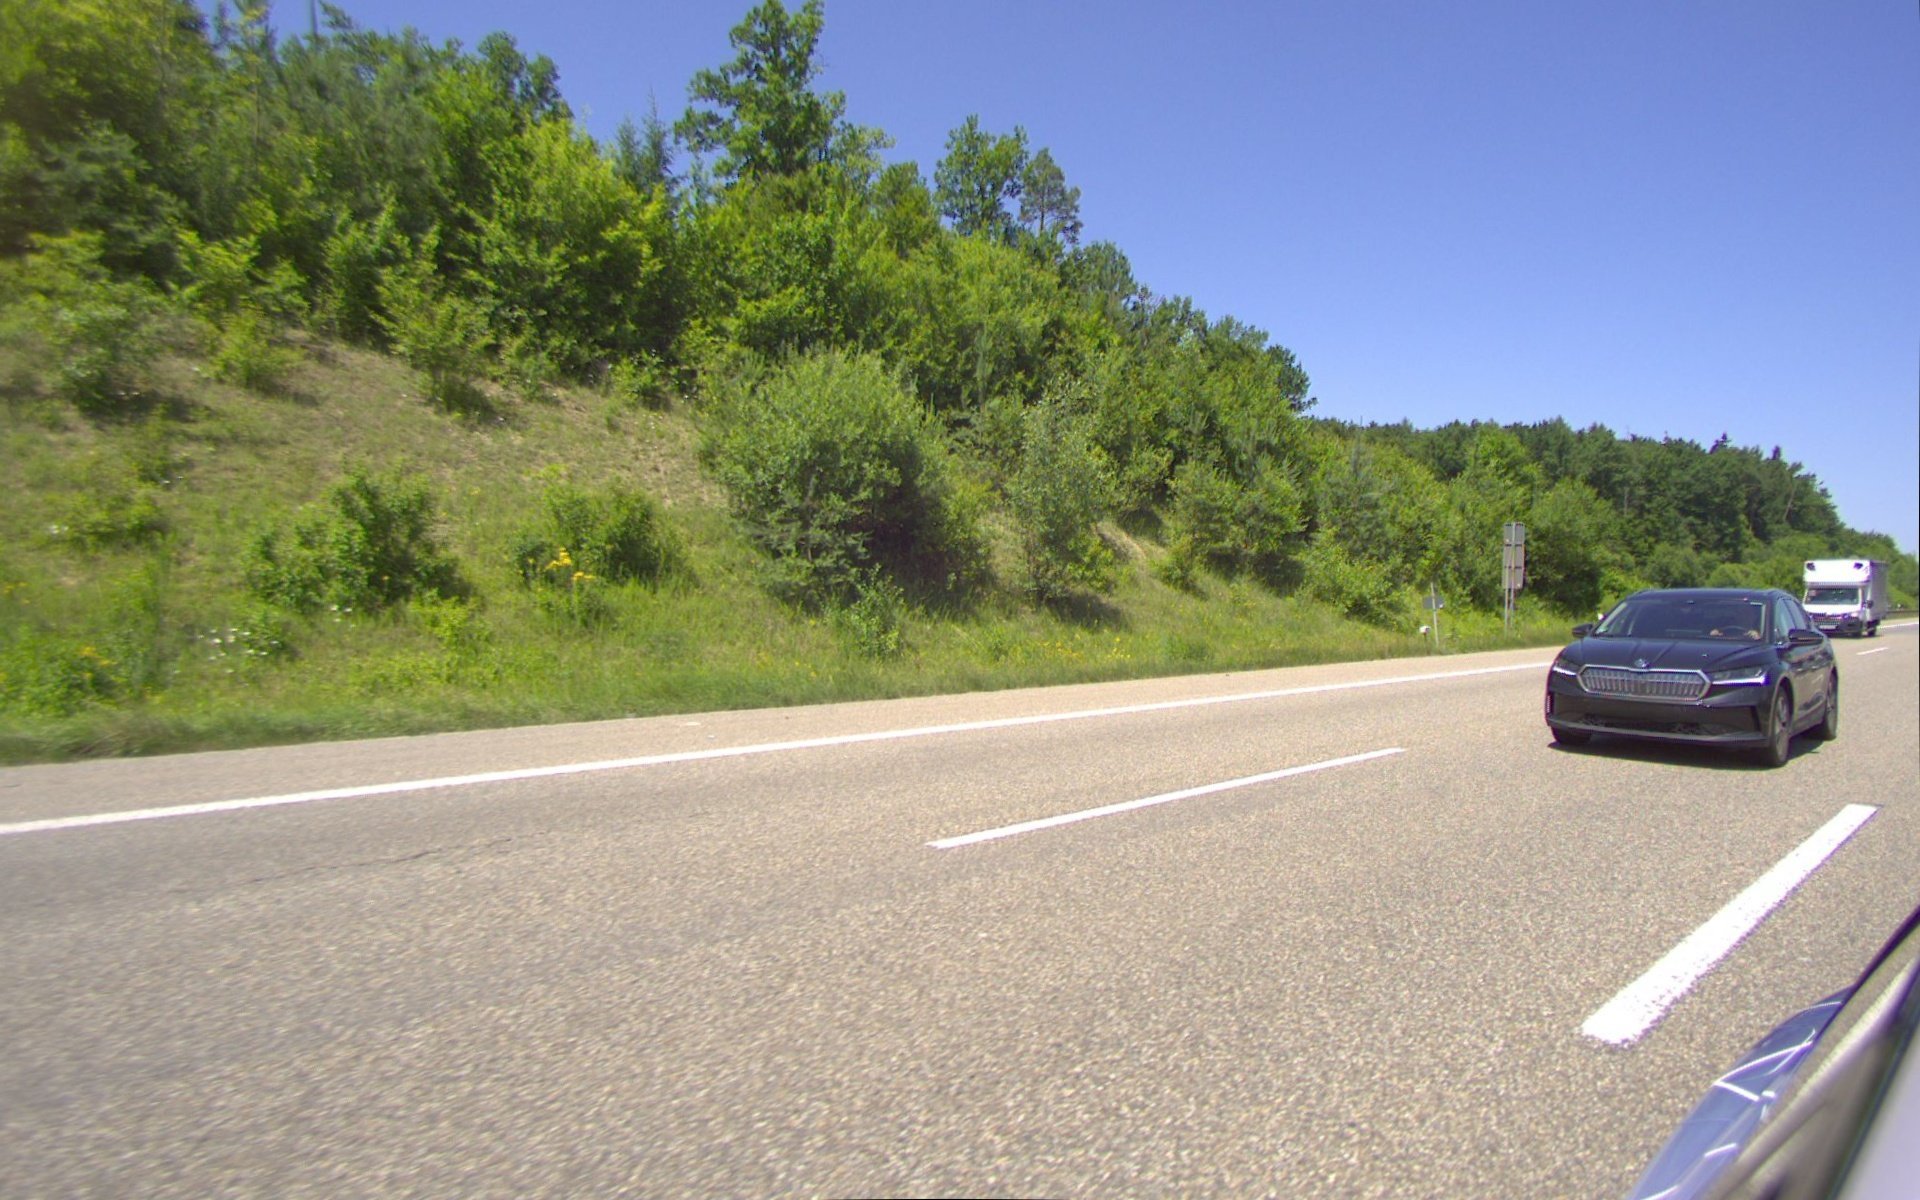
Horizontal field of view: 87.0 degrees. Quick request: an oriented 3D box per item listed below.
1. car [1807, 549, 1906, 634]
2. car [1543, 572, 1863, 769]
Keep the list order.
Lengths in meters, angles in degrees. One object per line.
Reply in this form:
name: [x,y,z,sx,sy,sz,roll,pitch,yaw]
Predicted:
car: [38.612,-0.402,43.501,7.491,3.378,2.300,-1,1,-42]
car: [7.934,0.536,10.641,4.383,1.639,1.986,-1,1,-44]
